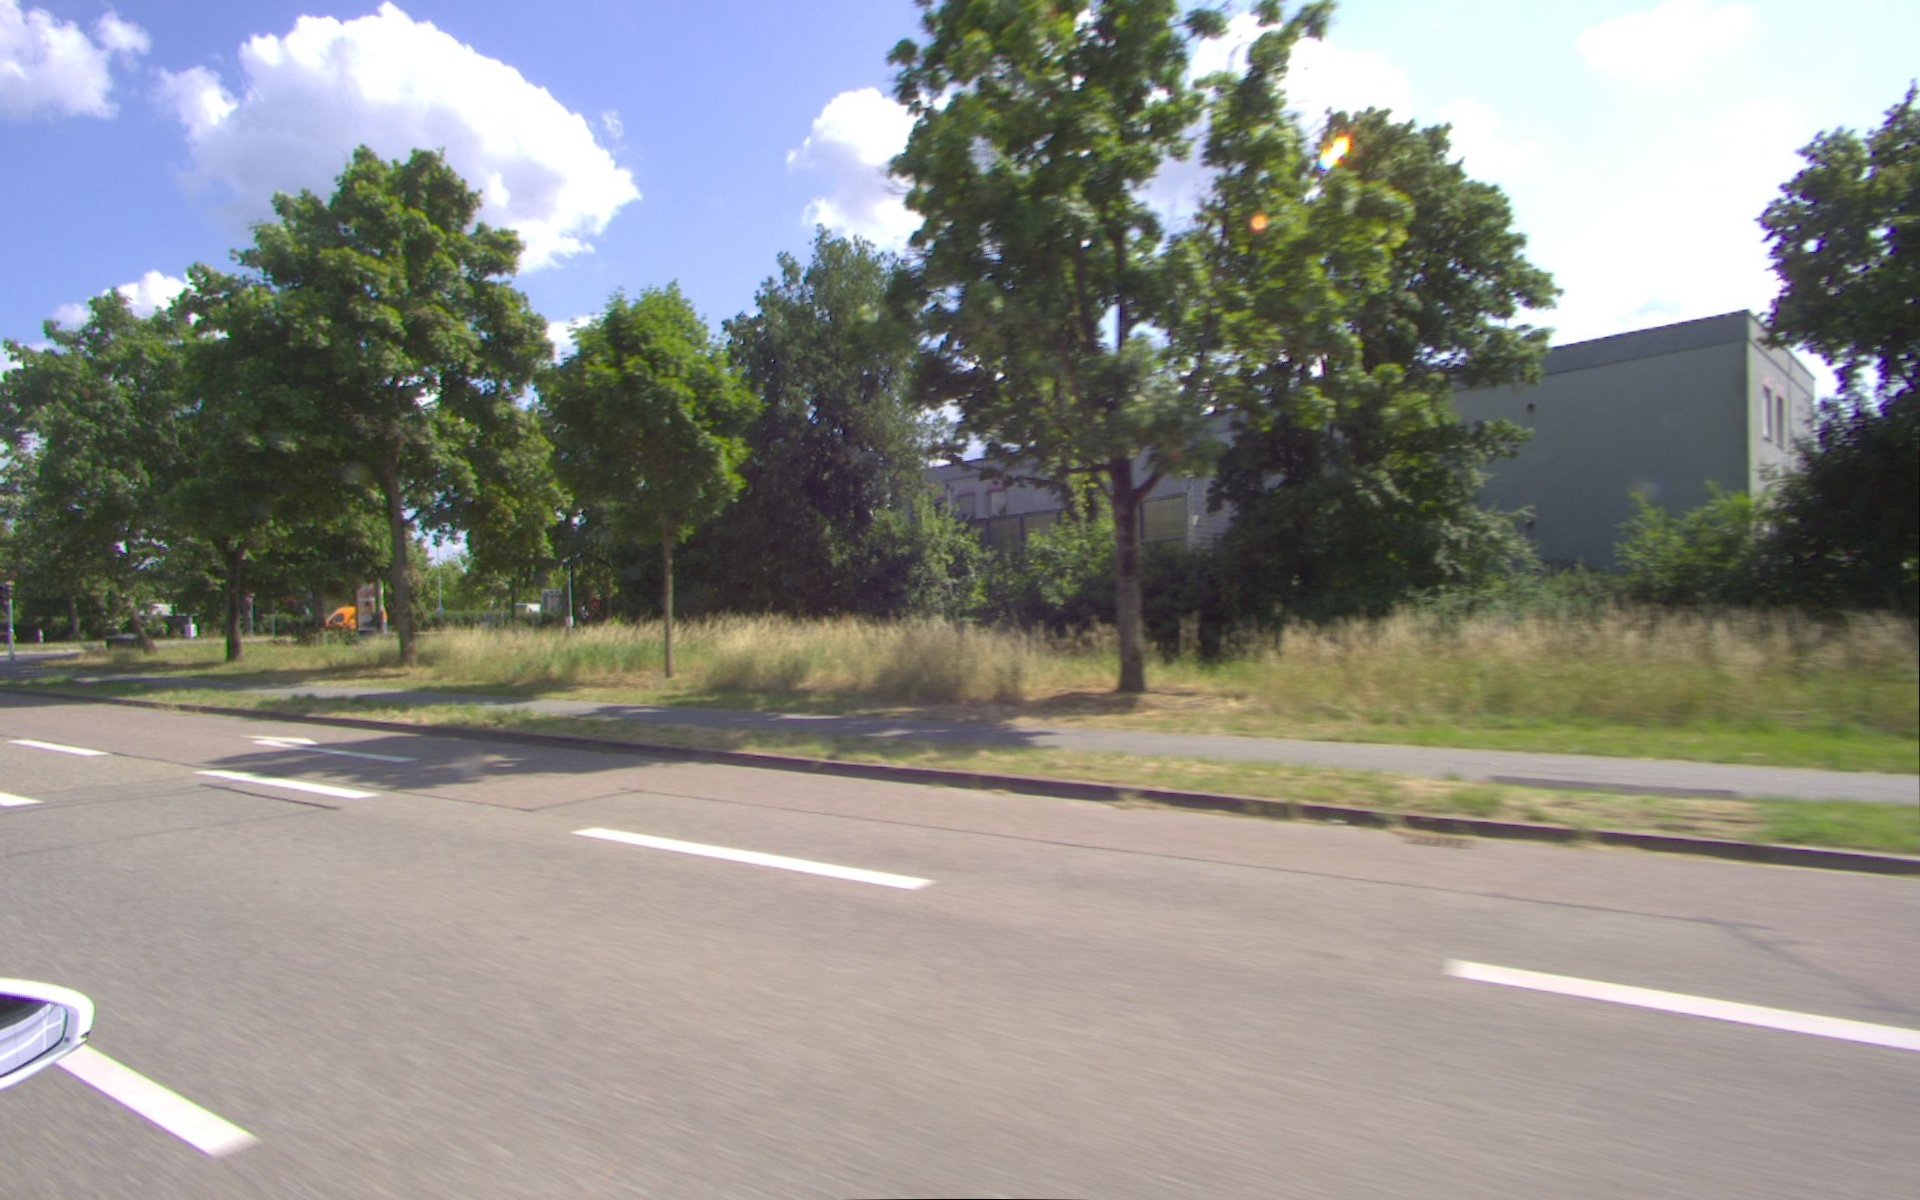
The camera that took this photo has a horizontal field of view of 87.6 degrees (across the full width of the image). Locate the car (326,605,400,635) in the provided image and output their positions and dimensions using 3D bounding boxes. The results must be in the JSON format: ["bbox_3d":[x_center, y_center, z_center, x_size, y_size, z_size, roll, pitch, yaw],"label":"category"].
[{"bbox_3d":[-47.165,1.638,79.156,4.805,2.253,2.195,2,-3,-39],"label":"car"}]

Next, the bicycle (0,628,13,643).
[{"bbox_3d":[-68.932,2.544,71.379,1.970,1.108,0.684,0,-1,-23],"label":"bicycle"}]

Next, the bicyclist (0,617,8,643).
[{"bbox_3d":[-68.655,2.135,71.509,0.776,1.828,0.684,-1,-1,-22],"label":"bicyclist"}]
